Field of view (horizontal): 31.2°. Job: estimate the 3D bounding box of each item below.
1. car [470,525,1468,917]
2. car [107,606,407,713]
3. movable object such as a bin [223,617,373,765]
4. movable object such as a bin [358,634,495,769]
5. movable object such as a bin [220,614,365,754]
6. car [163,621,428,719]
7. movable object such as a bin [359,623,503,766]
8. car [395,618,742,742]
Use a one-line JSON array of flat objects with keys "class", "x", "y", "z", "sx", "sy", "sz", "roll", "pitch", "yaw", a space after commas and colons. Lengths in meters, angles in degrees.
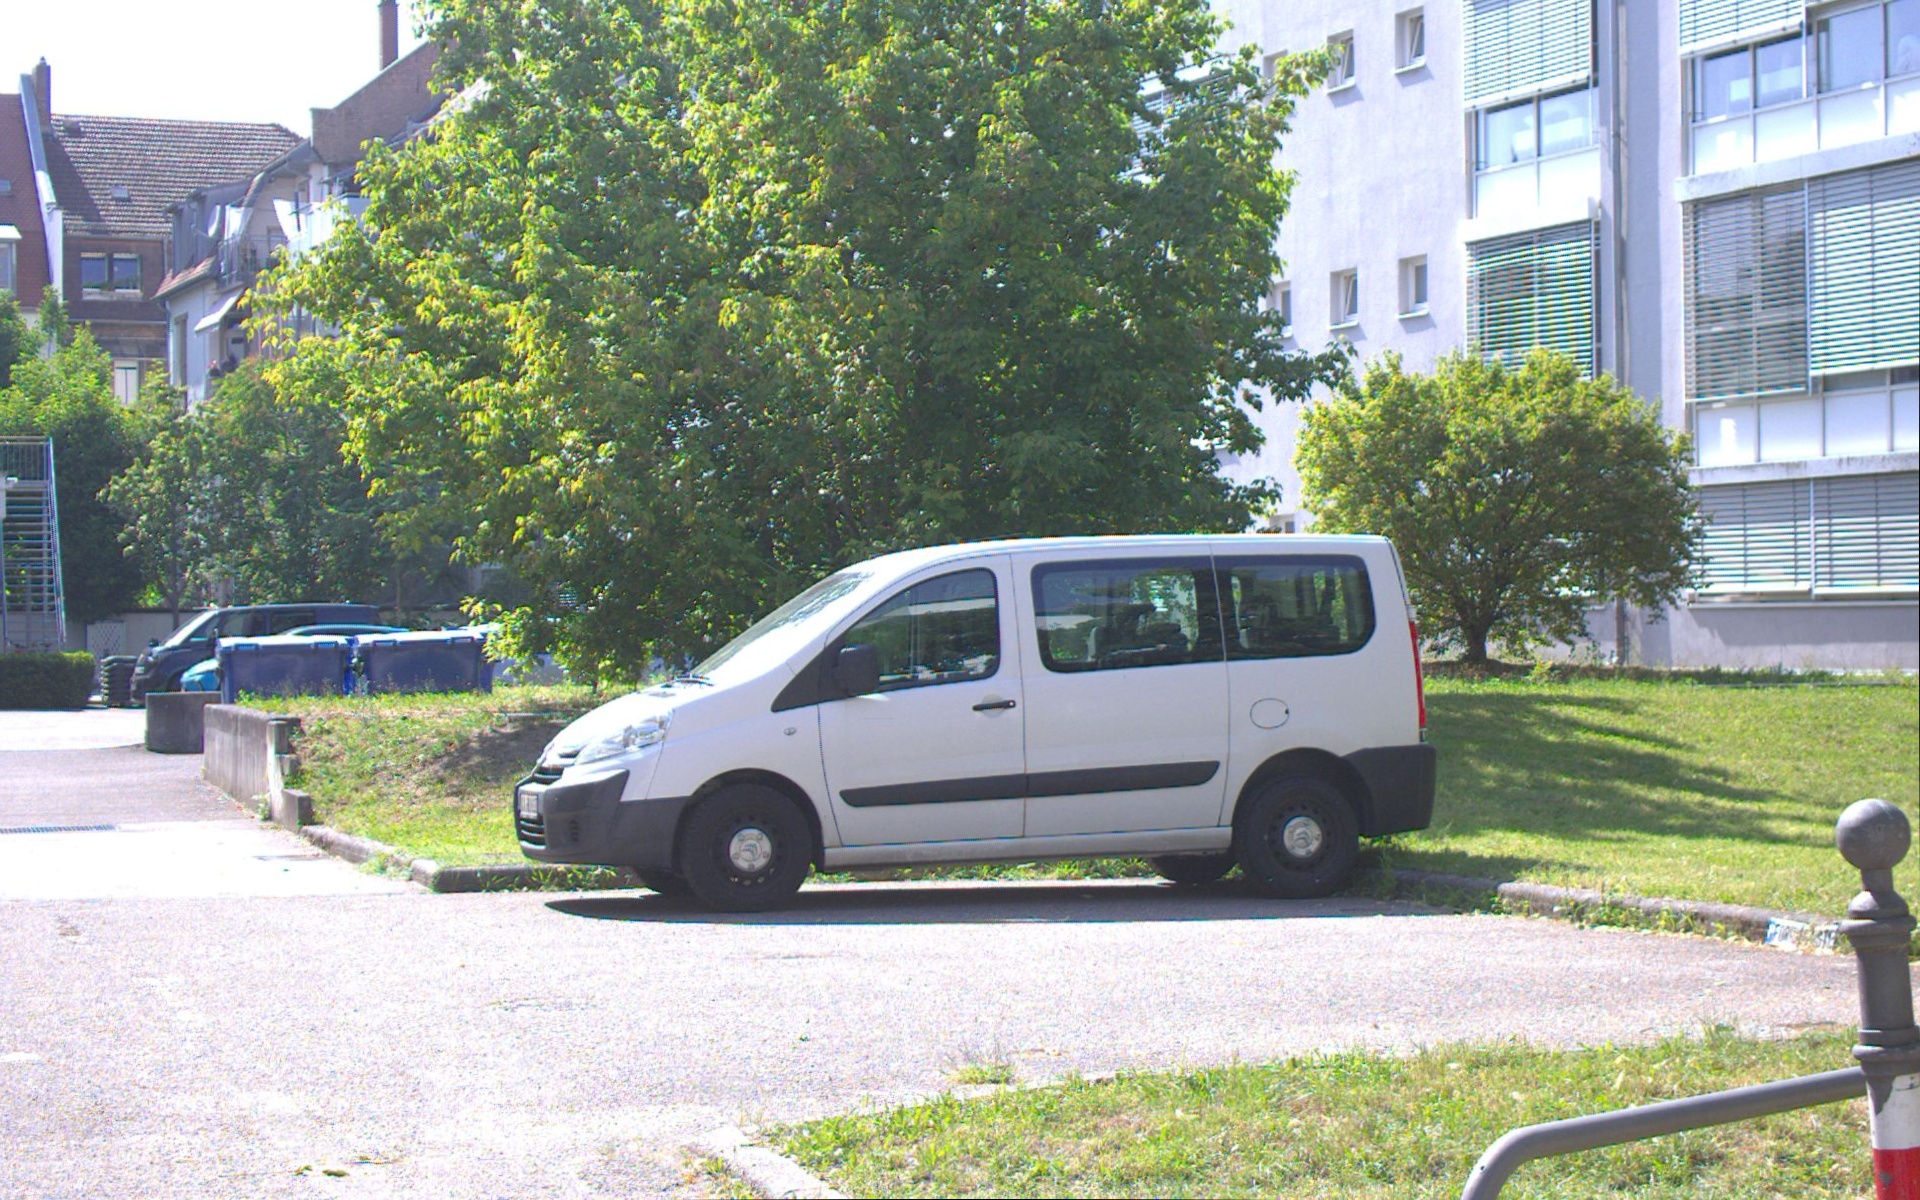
[{"class": "car", "x": 0.010, "y": 0.583, "z": 18.580, "sx": 5.022, "sy": 1.926, "sz": 2.001, "roll": 0, "pitch": 0, "yaw": -16}, {"class": "car", "x": -12.867, "y": 1.049, "z": 62.983, "sx": 4.951, "sy": 1.761, "sz": 2.096, "roll": -2, "pitch": 1, "yaw": -30}, {"class": "movable object such as a bin", "x": -6.323, "y": 0.868, "z": 32.791, "sx": 1.247, "sy": 1.315, "sz": 1.142, "roll": -3, "pitch": -1, "yaw": -16}, {"class": "movable object such as a bin", "x": -5.452, "y": 1.021, "z": 35.097, "sx": 1.155, "sy": 1.332, "sz": 1.142, "roll": -1, "pitch": 0, "yaw": -21}, {"class": "movable object such as a bin", "x": -6.737, "y": 0.834, "z": 34.658, "sx": 1.247, "sy": 1.351, "sz": 1.129, "roll": -1, "pitch": 0, "yaw": -21}, {"class": "car", "x": -11.595, "y": 1.191, "z": 59.972, "sx": 4.228, "sy": 1.527, "sz": 2.001, "roll": -1, "pitch": 1, "yaw": -21}, {"class": "movable object such as a bin", "x": -5.141, "y": 0.903, "z": 33.346, "sx": 1.247, "sy": 1.336, "sz": 1.142, "roll": -1, "pitch": 0, "yaw": -15}, {"class": "car", "x": -4.929, "y": 0.982, "z": 43.219, "sx": 3.986, "sy": 1.422, "sz": 1.812, "roll": -1, "pitch": 0, "yaw": -20}]
